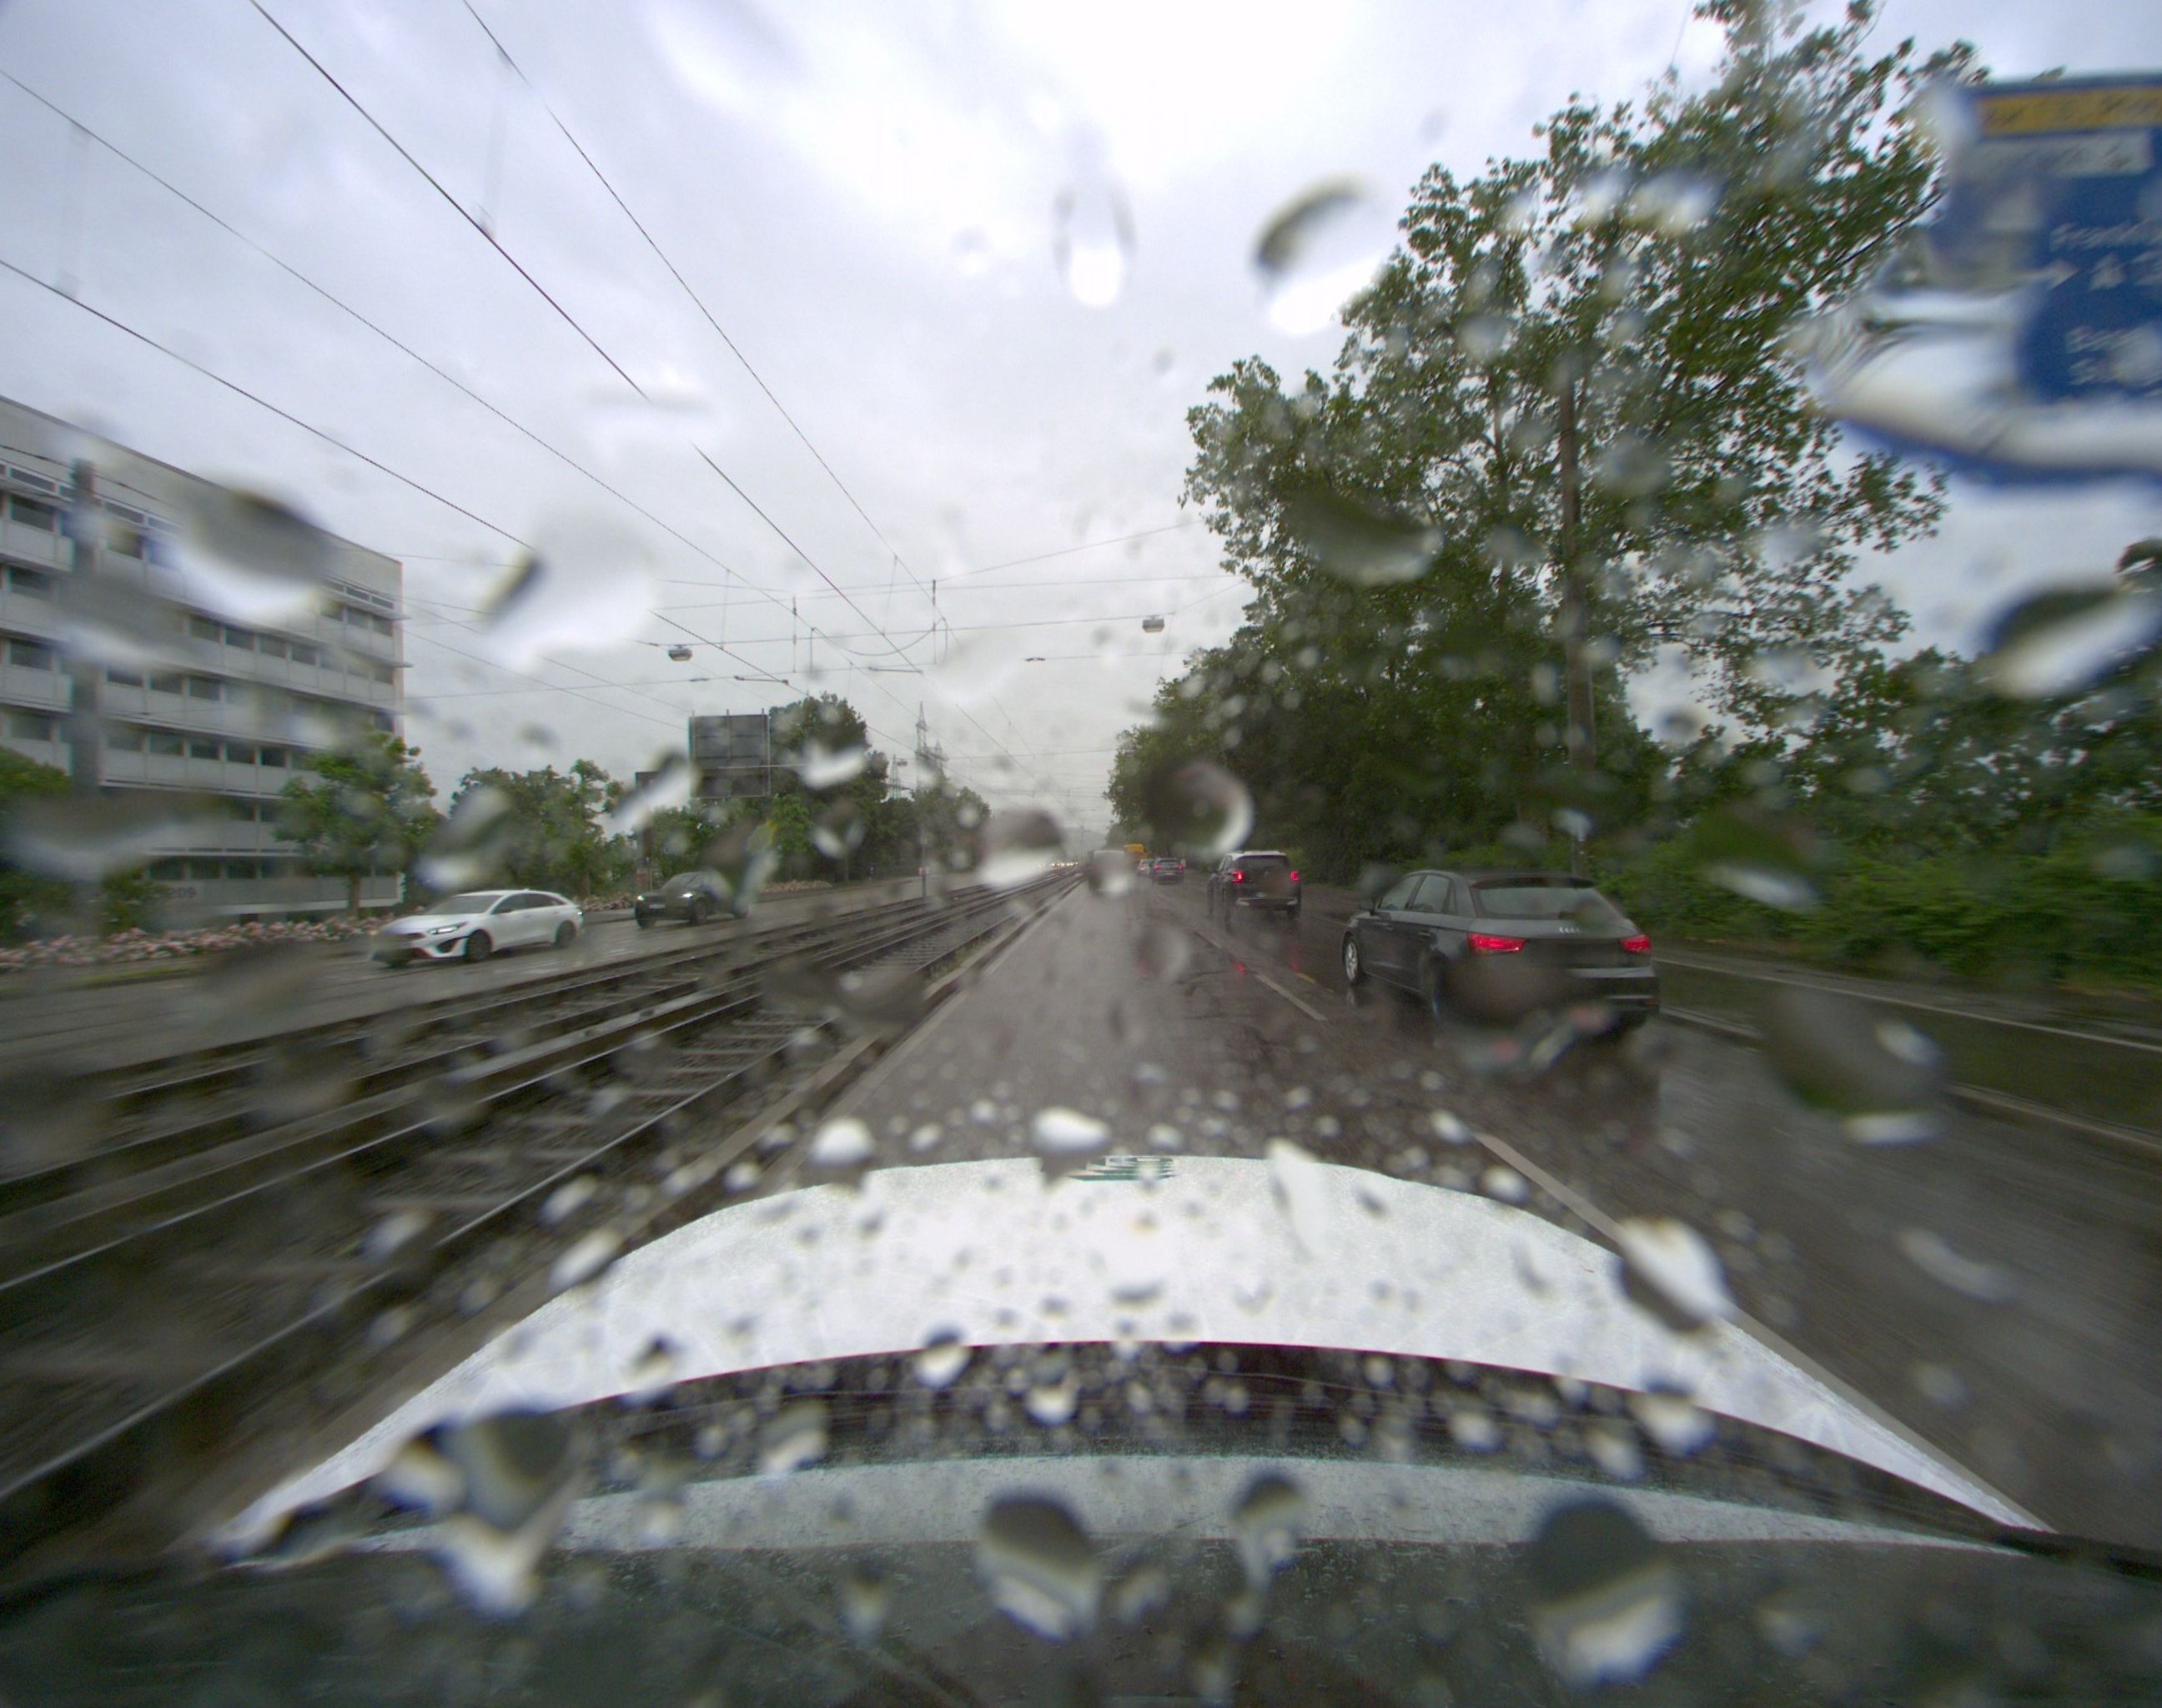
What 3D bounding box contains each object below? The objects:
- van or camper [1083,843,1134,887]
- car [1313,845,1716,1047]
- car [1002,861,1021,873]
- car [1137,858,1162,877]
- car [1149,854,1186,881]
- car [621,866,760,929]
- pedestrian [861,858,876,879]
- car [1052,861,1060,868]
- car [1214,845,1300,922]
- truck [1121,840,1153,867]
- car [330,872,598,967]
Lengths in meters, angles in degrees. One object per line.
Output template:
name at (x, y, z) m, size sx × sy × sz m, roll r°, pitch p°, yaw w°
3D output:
van or camper at (1.114, 0.417, 34.885) m, size 1.988 × 1.784 × 3.999 m, roll 0°, pitch 1°, yaw -1°
car at (3.873, 0.677, 8.194) m, size 1.961 × 1.528 × 3.991 m, roll 0°, pitch 1°, yaw 0°
car at (-9.484, 1.769, 111.682) m, size 1.985 × 1.618 × 4.257 m, roll -2°, pitch 0°, yaw 3°
car at (5.471, 1.044, 65.258) m, size 1.811 × 1.414 × 3.781 m, roll 0°, pitch 1°, yaw 2°
car at (4.791, 0.741, 45.642) m, size 1.811 × 1.414 × 3.781 m, roll 0°, pitch 1°, yaw 2°
car at (-12.641, 1.347, 26.789) m, size 1.986 × 1.721 × 4.884 m, roll -2°, pitch 0°, yaw 2°
pedestrian at (-18.099, 1.260, 69.378) m, size 0.848 × 1.759 × 1.121 m, roll -2°, pitch 0°, yaw 2°
car at (-6.237, 2.652, 205.767) m, size 1.650 × 1.486 × 4.016 m, roll -1°, pitch 0°, yaw 3°
car at (4.405, 0.642, 20.638) m, size 1.887 × 1.716 × 4.740 m, roll 0°, pitch 1°, yaw 11°
truck at (5.927, -0.074, 87.318) m, size 3.101 × 2.773 × 6.331 m, roll -1°, pitch 0°, yaw 1°
car at (-13.067, 1.298, 17.769) m, size 1.985 × 1.583 × 4.770 m, roll -2°, pitch 0°, yaw 3°
